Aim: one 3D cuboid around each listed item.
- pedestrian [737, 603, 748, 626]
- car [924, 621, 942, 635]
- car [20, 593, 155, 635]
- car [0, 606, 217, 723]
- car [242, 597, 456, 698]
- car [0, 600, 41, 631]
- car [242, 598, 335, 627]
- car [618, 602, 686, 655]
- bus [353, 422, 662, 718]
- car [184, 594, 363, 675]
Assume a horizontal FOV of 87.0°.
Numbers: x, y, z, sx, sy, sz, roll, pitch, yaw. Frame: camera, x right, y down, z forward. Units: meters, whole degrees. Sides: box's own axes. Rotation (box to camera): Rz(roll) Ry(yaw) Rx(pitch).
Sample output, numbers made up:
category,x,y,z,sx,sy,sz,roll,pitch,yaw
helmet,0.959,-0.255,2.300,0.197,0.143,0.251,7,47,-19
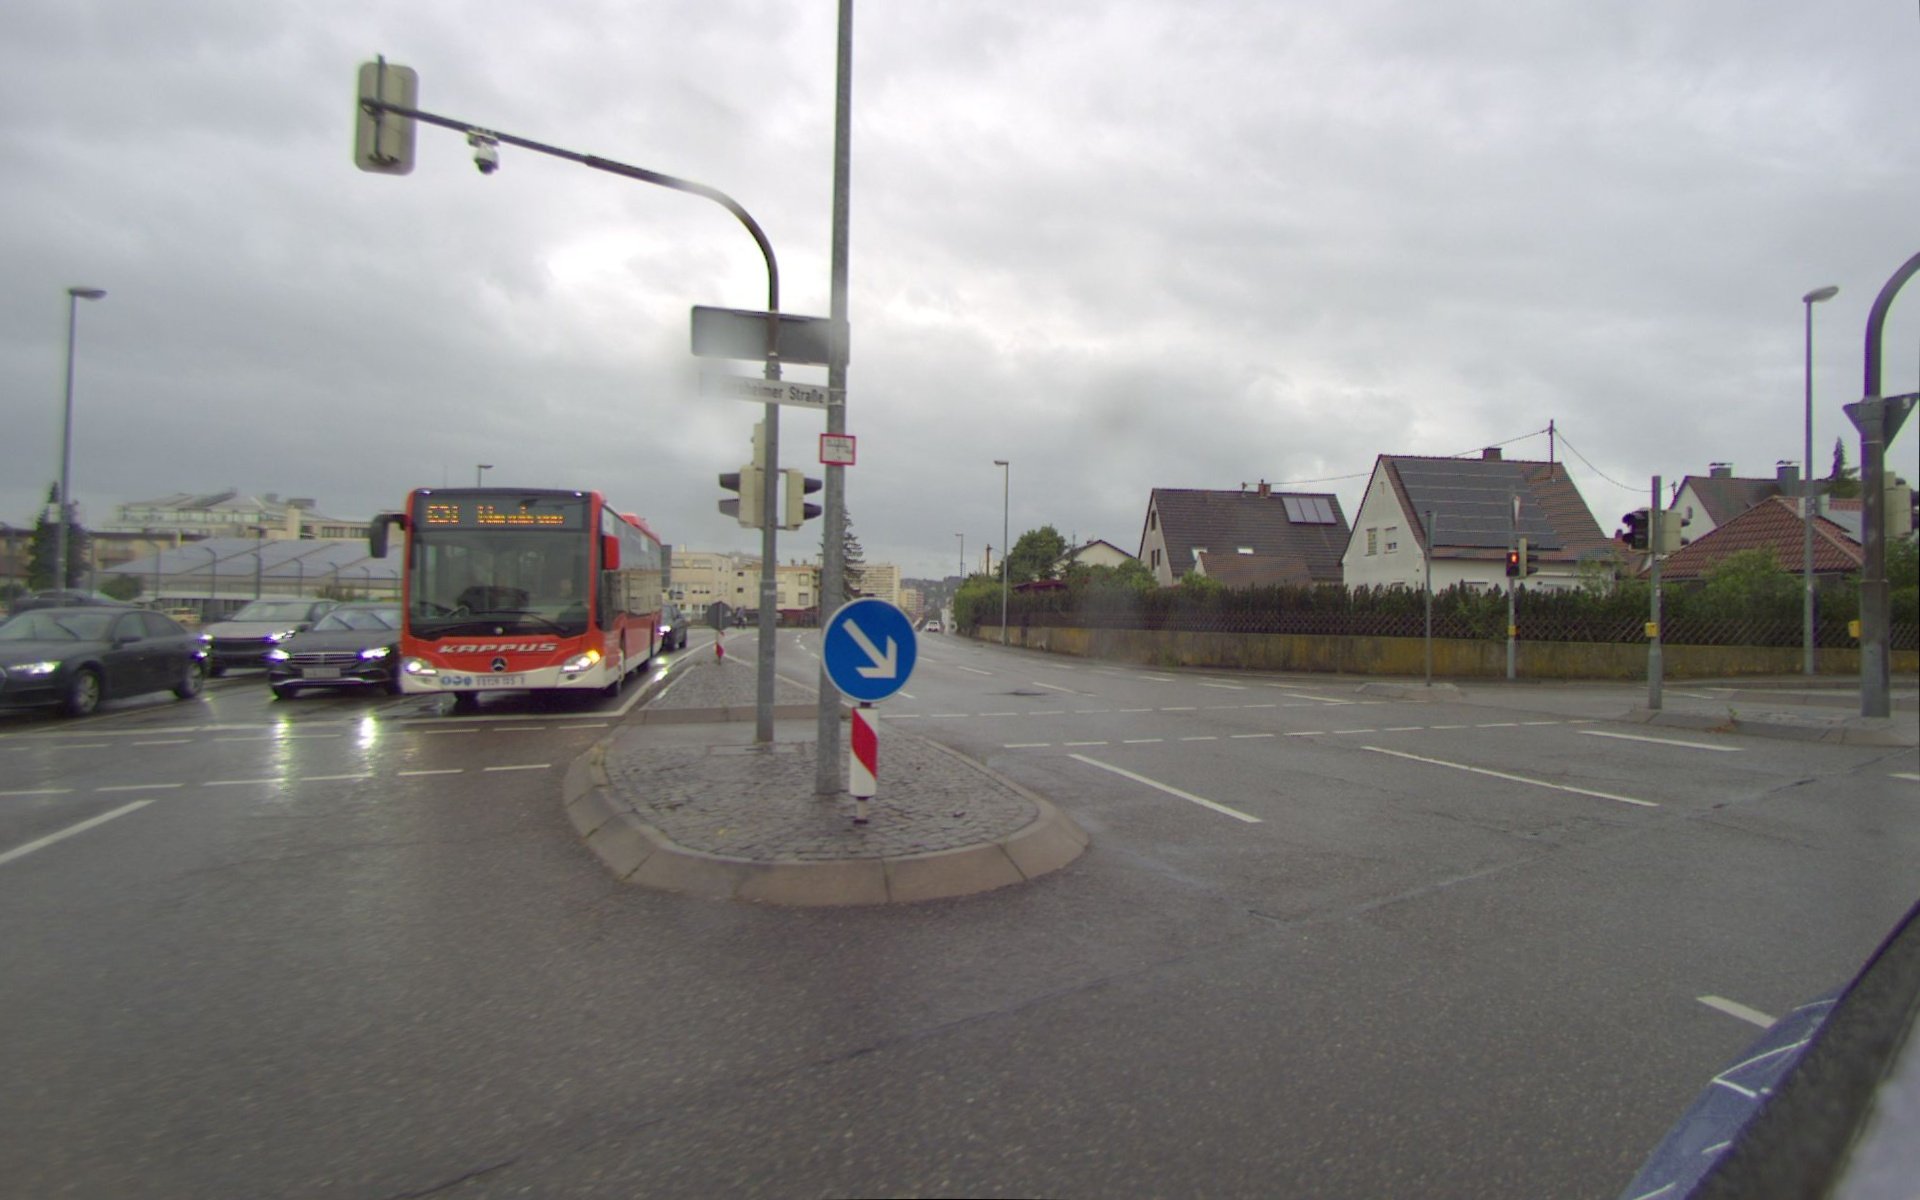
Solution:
category,x,y,z,sx,sy,sz,roll,pitch,yaw
pedestrian,-16.086,1.047,74.978,0.684,1.686,0.678,0,-1,-20
car,-3.300,3.463,124.528,1.819,1.516,3.997,0,1,3
car,-35.587,0.555,41.344,3.822,1.686,1.933,0,0,-2
car,-12.447,0.787,14.124,1.787,1.372,4.402,0,0,-14
car,-10.259,0.709,17.421,1.862,1.486,4.601,0,0,-14
car,-52.590,0.827,54.741,3.922,1.638,2.001,0,0,-2
car,-37.279,0.674,56.249,3.927,1.563,1.998,0,0,3
car,-9.719,0.850,32.193,1.814,1.516,4.008,0,1,-13
bus,-7.381,-0.222,18.702,2.924,3.623,12.311,0,-1,-13
car,-14.666,0.671,21.939,1.787,1.557,4.402,0,0,-14
